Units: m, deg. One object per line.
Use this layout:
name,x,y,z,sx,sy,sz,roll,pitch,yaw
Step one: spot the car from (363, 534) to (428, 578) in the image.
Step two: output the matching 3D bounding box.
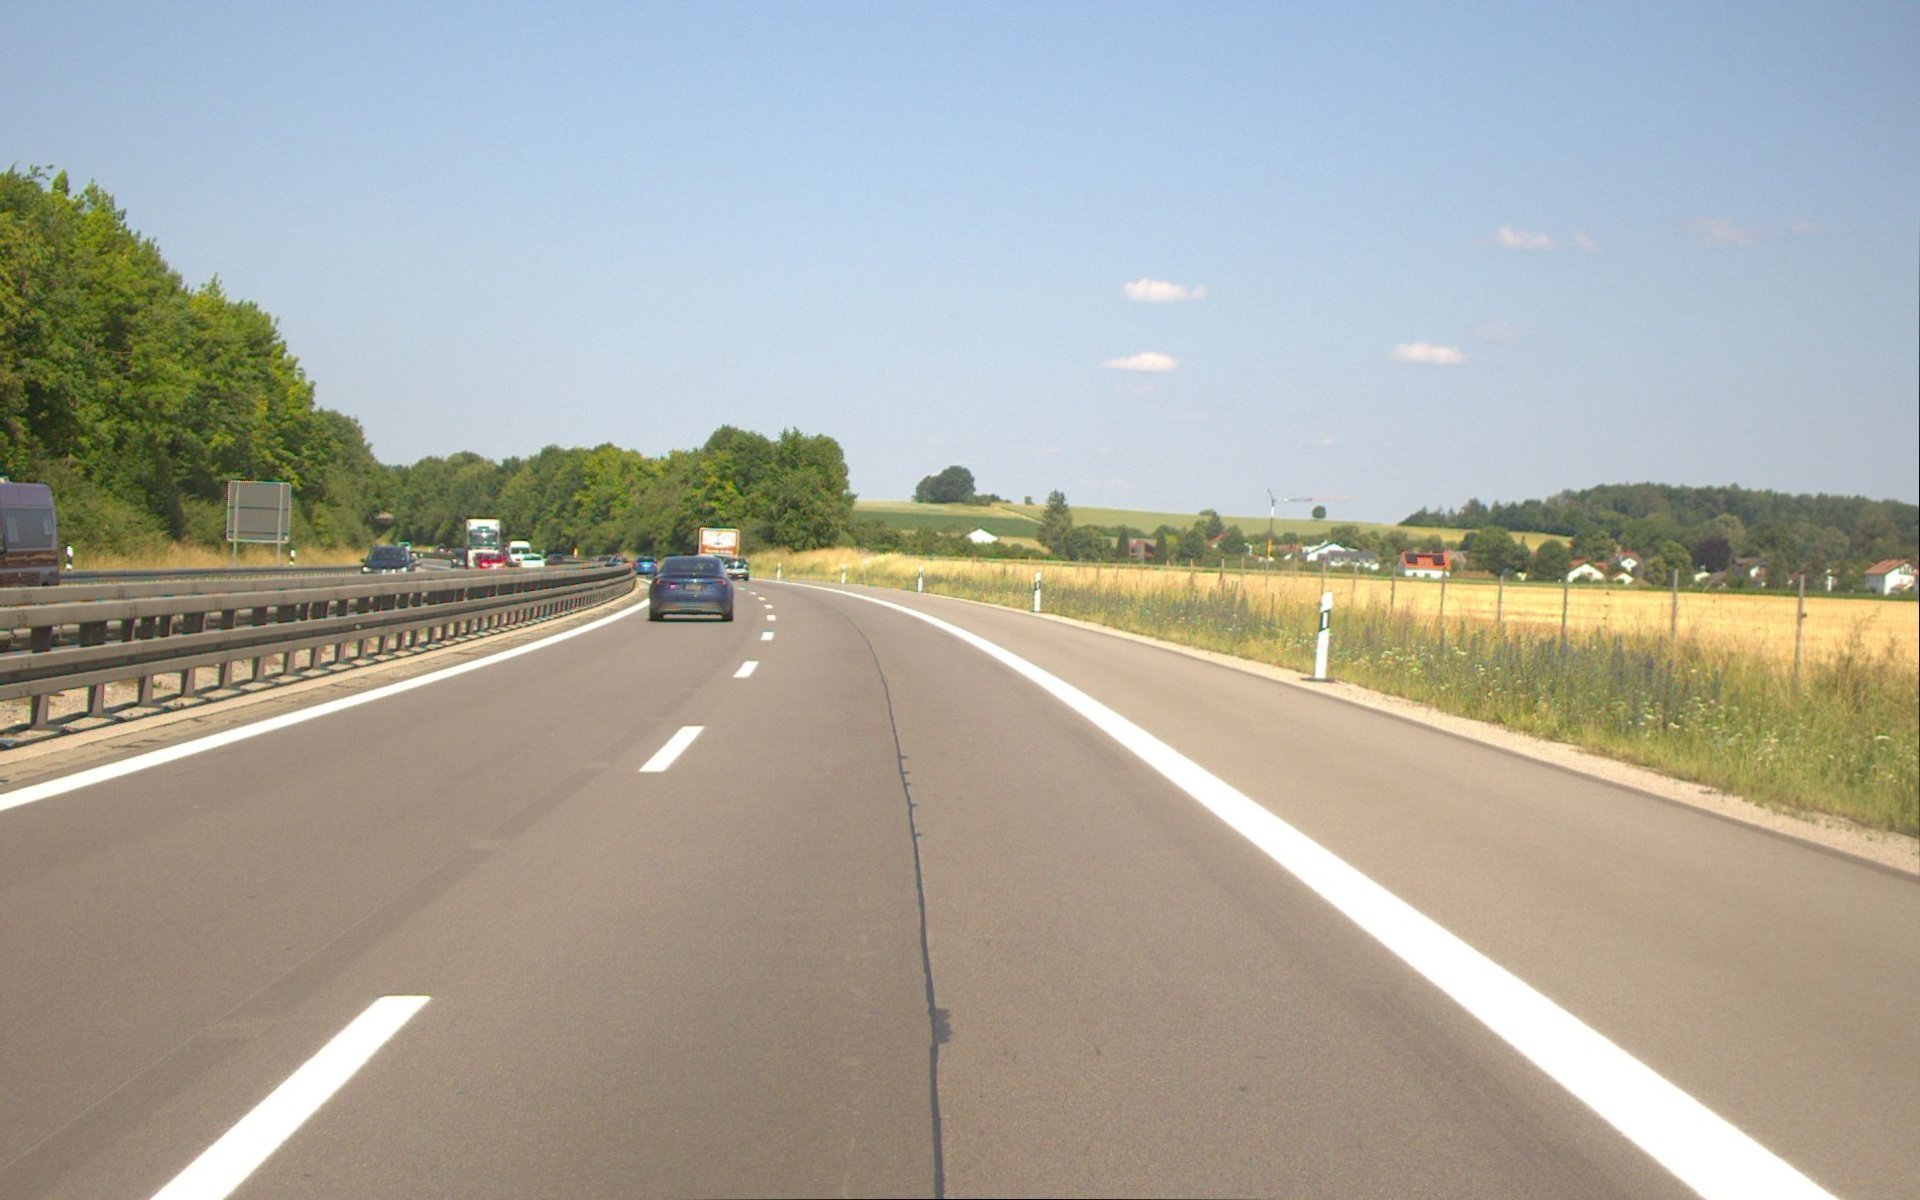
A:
car,-21.079,-1.670,128.491,1.810,1.550,4.850,2,1,-3

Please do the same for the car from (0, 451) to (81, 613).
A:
car,-16.676,-1.171,57.177,2.543,2.586,6.594,2,1,-2

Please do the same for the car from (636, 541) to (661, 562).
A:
car,-22.311,-3.472,246.107,1.676,1.448,3.592,1,1,-5

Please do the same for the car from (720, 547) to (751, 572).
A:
car,-13.282,-2.395,203.222,1.675,1.448,3.593,1,1,-6

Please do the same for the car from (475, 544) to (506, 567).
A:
car,-30.389,-2.883,222.677,1.672,1.432,4.143,1,1,-4

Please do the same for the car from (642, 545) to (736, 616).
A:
car,-6.044,-0.468,77.149,1.847,1.428,5.866,1,1,-2
